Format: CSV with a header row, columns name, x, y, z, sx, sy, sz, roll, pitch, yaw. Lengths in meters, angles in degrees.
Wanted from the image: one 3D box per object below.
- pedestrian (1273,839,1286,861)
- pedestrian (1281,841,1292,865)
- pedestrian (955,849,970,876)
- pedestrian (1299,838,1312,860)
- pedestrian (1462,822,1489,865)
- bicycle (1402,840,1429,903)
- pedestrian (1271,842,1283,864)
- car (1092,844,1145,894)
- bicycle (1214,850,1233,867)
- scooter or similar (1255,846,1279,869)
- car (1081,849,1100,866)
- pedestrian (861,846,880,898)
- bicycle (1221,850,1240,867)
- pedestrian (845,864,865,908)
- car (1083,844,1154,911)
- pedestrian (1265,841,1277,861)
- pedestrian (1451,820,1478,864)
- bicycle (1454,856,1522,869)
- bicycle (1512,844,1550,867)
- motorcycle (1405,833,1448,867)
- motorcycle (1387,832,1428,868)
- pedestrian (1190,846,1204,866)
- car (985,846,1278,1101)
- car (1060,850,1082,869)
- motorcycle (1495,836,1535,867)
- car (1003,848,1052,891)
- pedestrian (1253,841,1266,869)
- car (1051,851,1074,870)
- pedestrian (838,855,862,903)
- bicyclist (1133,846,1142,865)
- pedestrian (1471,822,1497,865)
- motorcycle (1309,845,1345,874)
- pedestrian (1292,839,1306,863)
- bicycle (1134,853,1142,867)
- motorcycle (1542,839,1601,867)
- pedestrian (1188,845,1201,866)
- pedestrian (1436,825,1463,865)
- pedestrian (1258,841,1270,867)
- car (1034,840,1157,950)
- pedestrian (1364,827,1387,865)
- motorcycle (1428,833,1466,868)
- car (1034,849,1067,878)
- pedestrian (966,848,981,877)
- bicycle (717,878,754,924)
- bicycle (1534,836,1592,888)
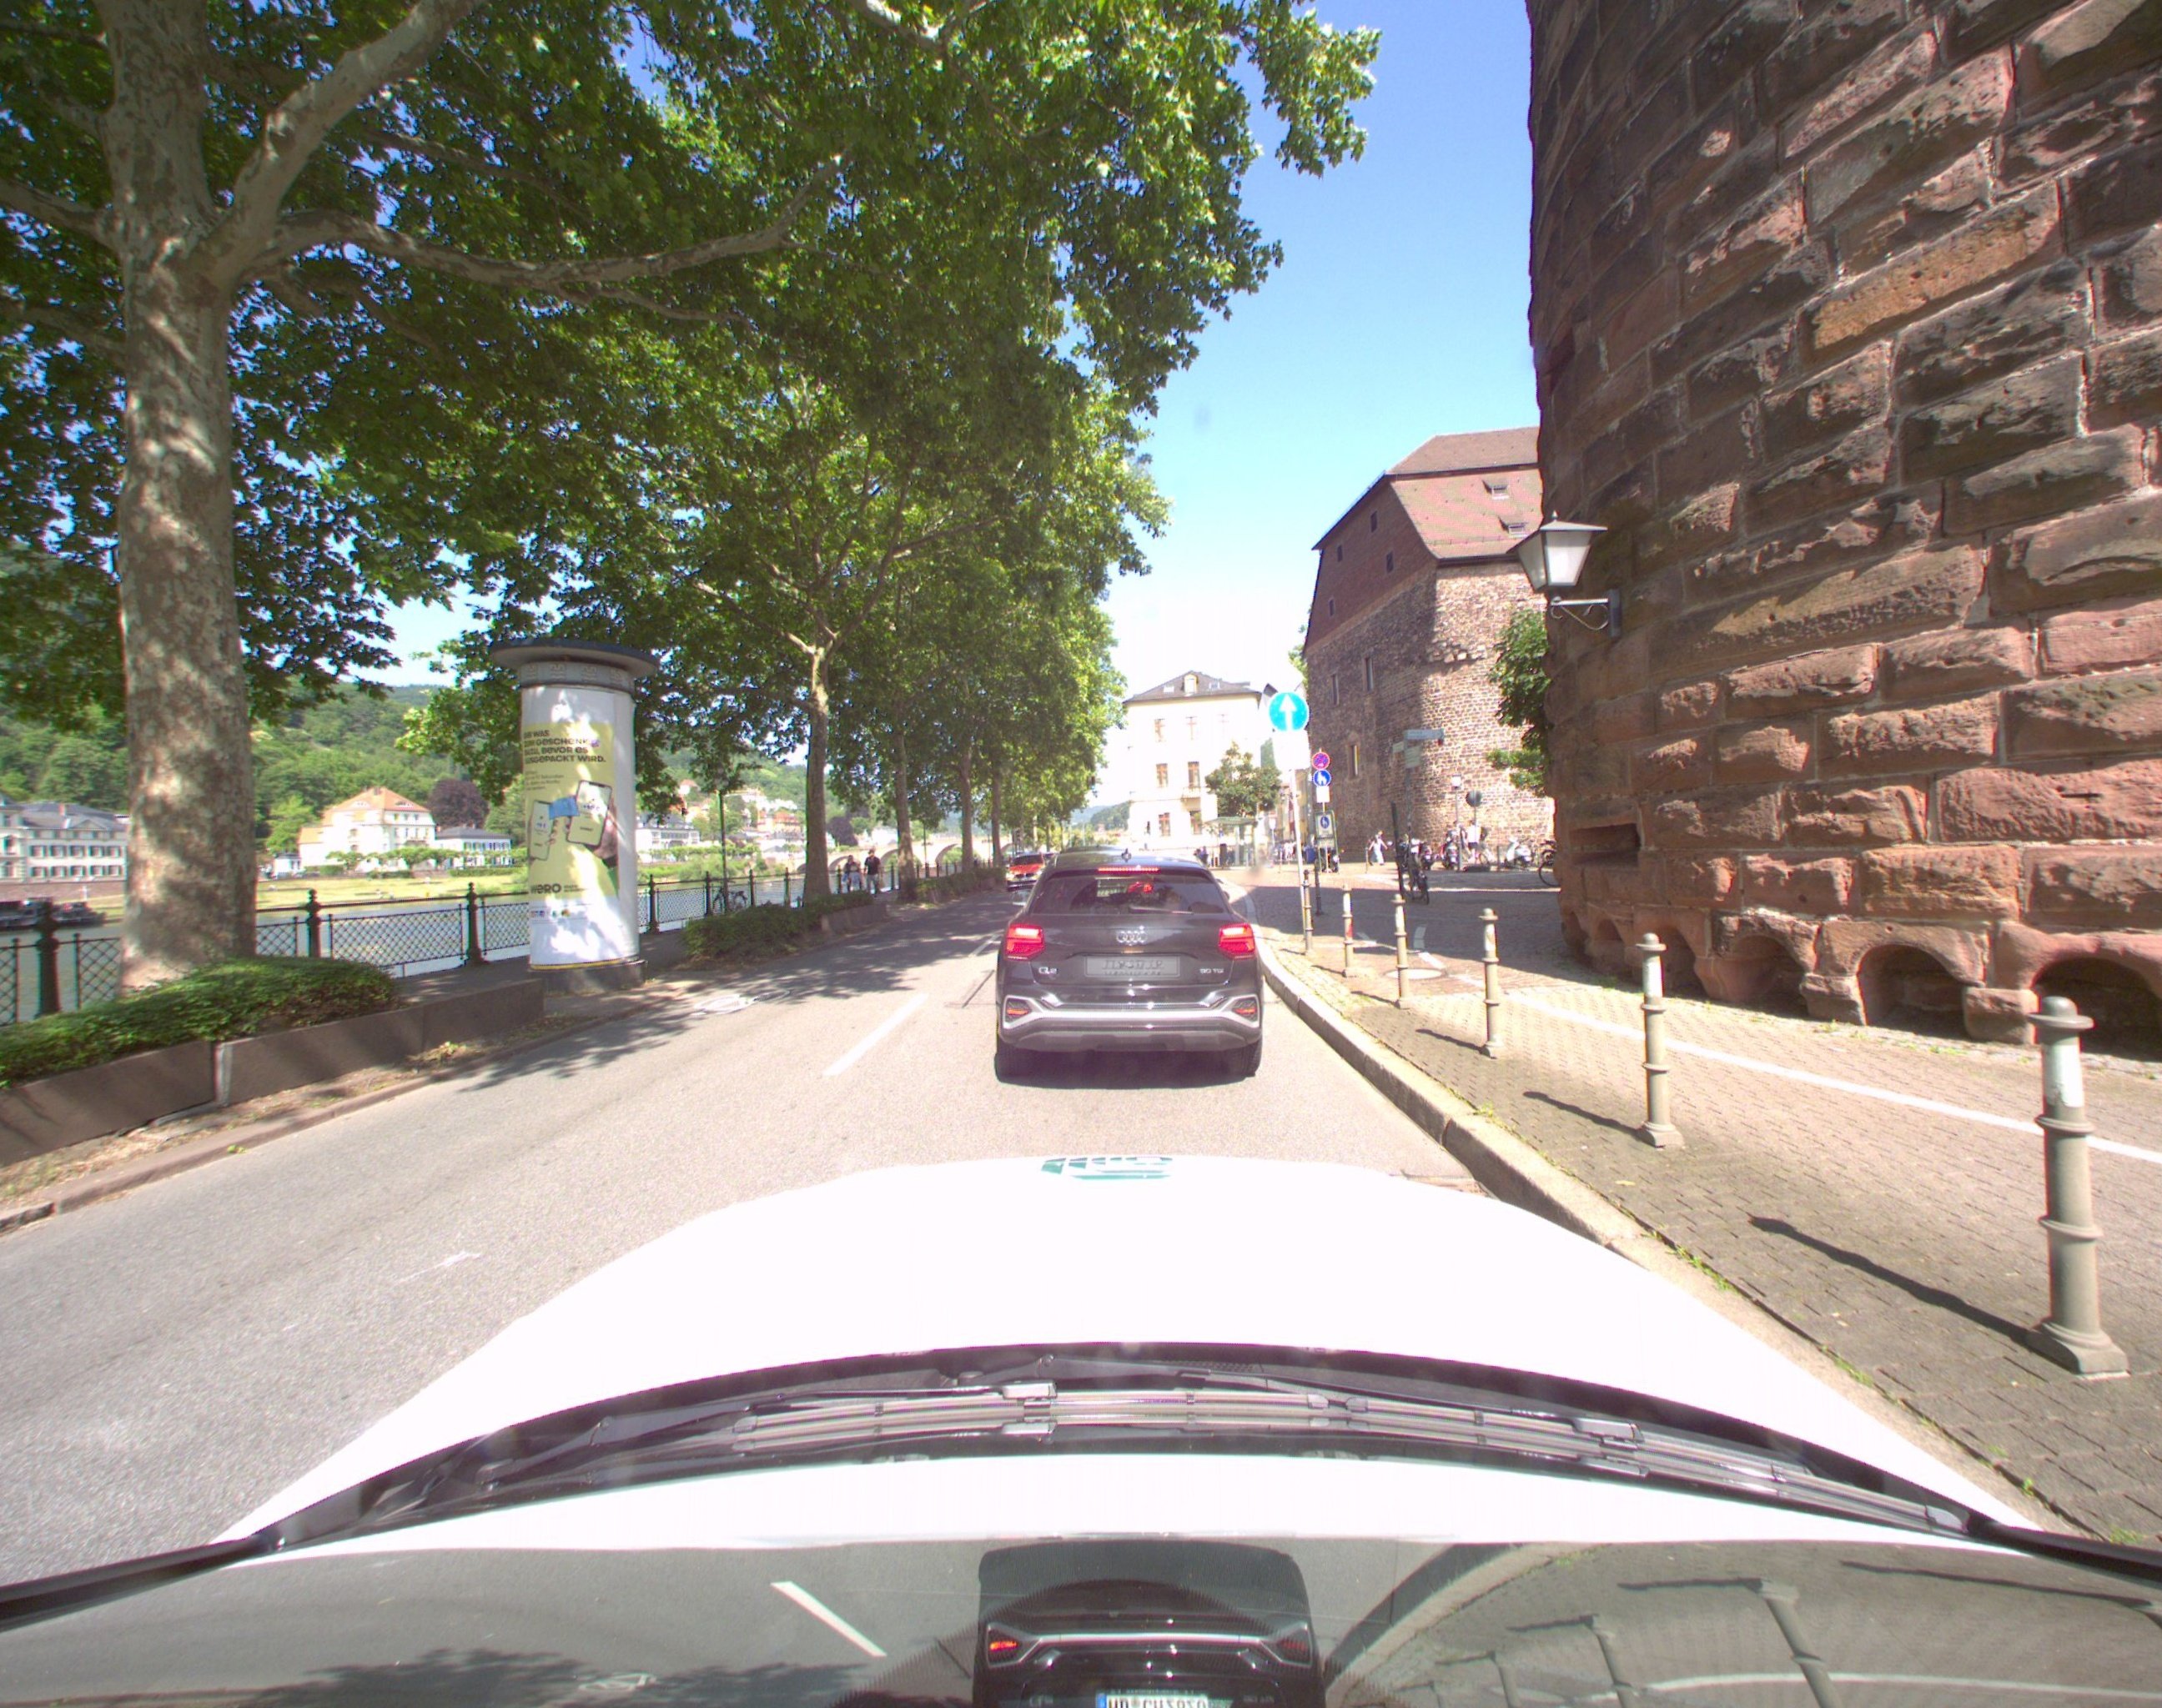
name,x,y,z,sx,sy,sz,roll,pitch,yaw
pedestrian,15.273,-0.329,62.779,0.773,1.621,0.646,-3,0,4
pedestrian,17.561,-0.107,69.602,0.836,2.014,0.738,-1,-1,2
pedestrian,-8.038,0.600,55.286,0.906,1.811,0.586,-1,-2,6
pedestrian,17.346,-0.377,62.944,0.684,1.612,0.896,-3,0,25
pedestrian,17.436,-0.441,36.034,0.671,1.884,0.815,0,-1,-21
bicycle,6.861,0.326,16.753,0.192,1.203,1.775,-2,1,13
pedestrian,17.774,-0.091,73.792,0.941,2.014,0.808,-1,-1,2
car,1.328,0.492,29.523,1.788,1.682,4.002,-1,0,2
bicycle,8.681,0.257,49.514,1.187,1.016,0.178,0,-1,-17
scooter or similar,8.952,0.169,39.289,1.085,1.066,0.323,0,-1,-1
car,1.096,0.421,90.655,1.985,1.806,4.003,-1,-1,3
pedestrian,-7.731,0.664,29.960,0.532,1.887,0.437,-1,0,1
bicycle,8.970,0.257,48.899,1.205,1.035,0.178,0,-1,-17
pedestrian,-7.204,1.015,25.990,0.476,1.362,0.418,-1,0,5
car,0.986,0.573,21.898,1.704,1.609,3.656,-1,0,2
pedestrian,14.961,-0.245,64.149,0.772,1.564,0.647,-3,0,7
pedestrian,17.778,-0.565,37.802,0.736,2.014,0.868,0,-1,-37
bicycle,13.633,0.282,27.344,1.914,0.381,0.921,-2,-1,16
bicycle,16.632,0.044,30.145,0.352,0.820,1.926,0,1,1
motorcycle,12.807,-0.132,30.276,0.672,1.235,2.313,-1,-1,2
motorcycle,11.956,-0.142,29.864,0.653,1.266,2.201,-2,-1,2
pedestrian,6.844,0.114,48.096,0.662,1.211,0.640,0,-1,-5
car,0.355,0.701,6.679,1.736,1.509,3.649,0,0,2
car,-0.997,0.534,84.484,1.806,1.725,4.423,-8,0,2
motorcycle,15.780,-0.075,29.637,0.505,1.073,1.841,-1,-1,2
car,-2.302,0.642,36.048,1.667,1.660,4.224,-5,0,1
pedestrian,11.977,0.084,54.729,0.744,1.890,0.753,-1,-1,4
car,-1.659,0.566,74.373,1.732,1.572,4.093,-6,0,2
pedestrian,-8.318,0.885,29.332,0.599,1.685,0.583,-3,0,0
bicyclist,4.362,0.122,62.743,0.604,1.450,0.590,0,-1,-3
pedestrian,18.107,-0.456,36.585,0.672,1.920,0.814,0,-1,-27
motorcycle,9.062,0.176,30.121,0.564,1.012,2.490,-3,0,1
pedestrian,18.542,-0.260,69.253,0.936,2.014,0.808,-1,-1,4
bicycle,4.366,0.460,62.719,0.436,1.086,1.675,0,-1,-2
motorcycle,18.534,-0.030,30.773,1.854,1.054,0.481,-1,-1,9
pedestrian,6.787,0.096,48.819,0.662,1.231,0.640,0,-1,-5
pedestrian,16.825,-0.395,37.182,0.656,1.802,0.839,-1,0,-30
pedestrian,9.548,0.004,42.472,0.555,1.385,0.588,-1,-1,4
car,0.271,0.589,13.608,1.786,1.595,3.400,0,0,2
pedestrian,13.174,-0.343,36.421,0.800,1.662,0.660,-3,0,26
motorcycle,13.637,-0.118,30.364,0.544,1.235,2.031,-1,-1,2
car,-1.934,0.585,52.710,1.762,1.660,4.001,-4,0,1
pedestrian,-7.574,0.587,57.596,0.906,2.014,0.587,-1,-1,6
bicycle,-8.884,1.200,20.961,0.358,1.091,1.296,1,0,1
bicycle,11.521,0.170,19.516,0.444,1.162,1.733,-2,0,5
